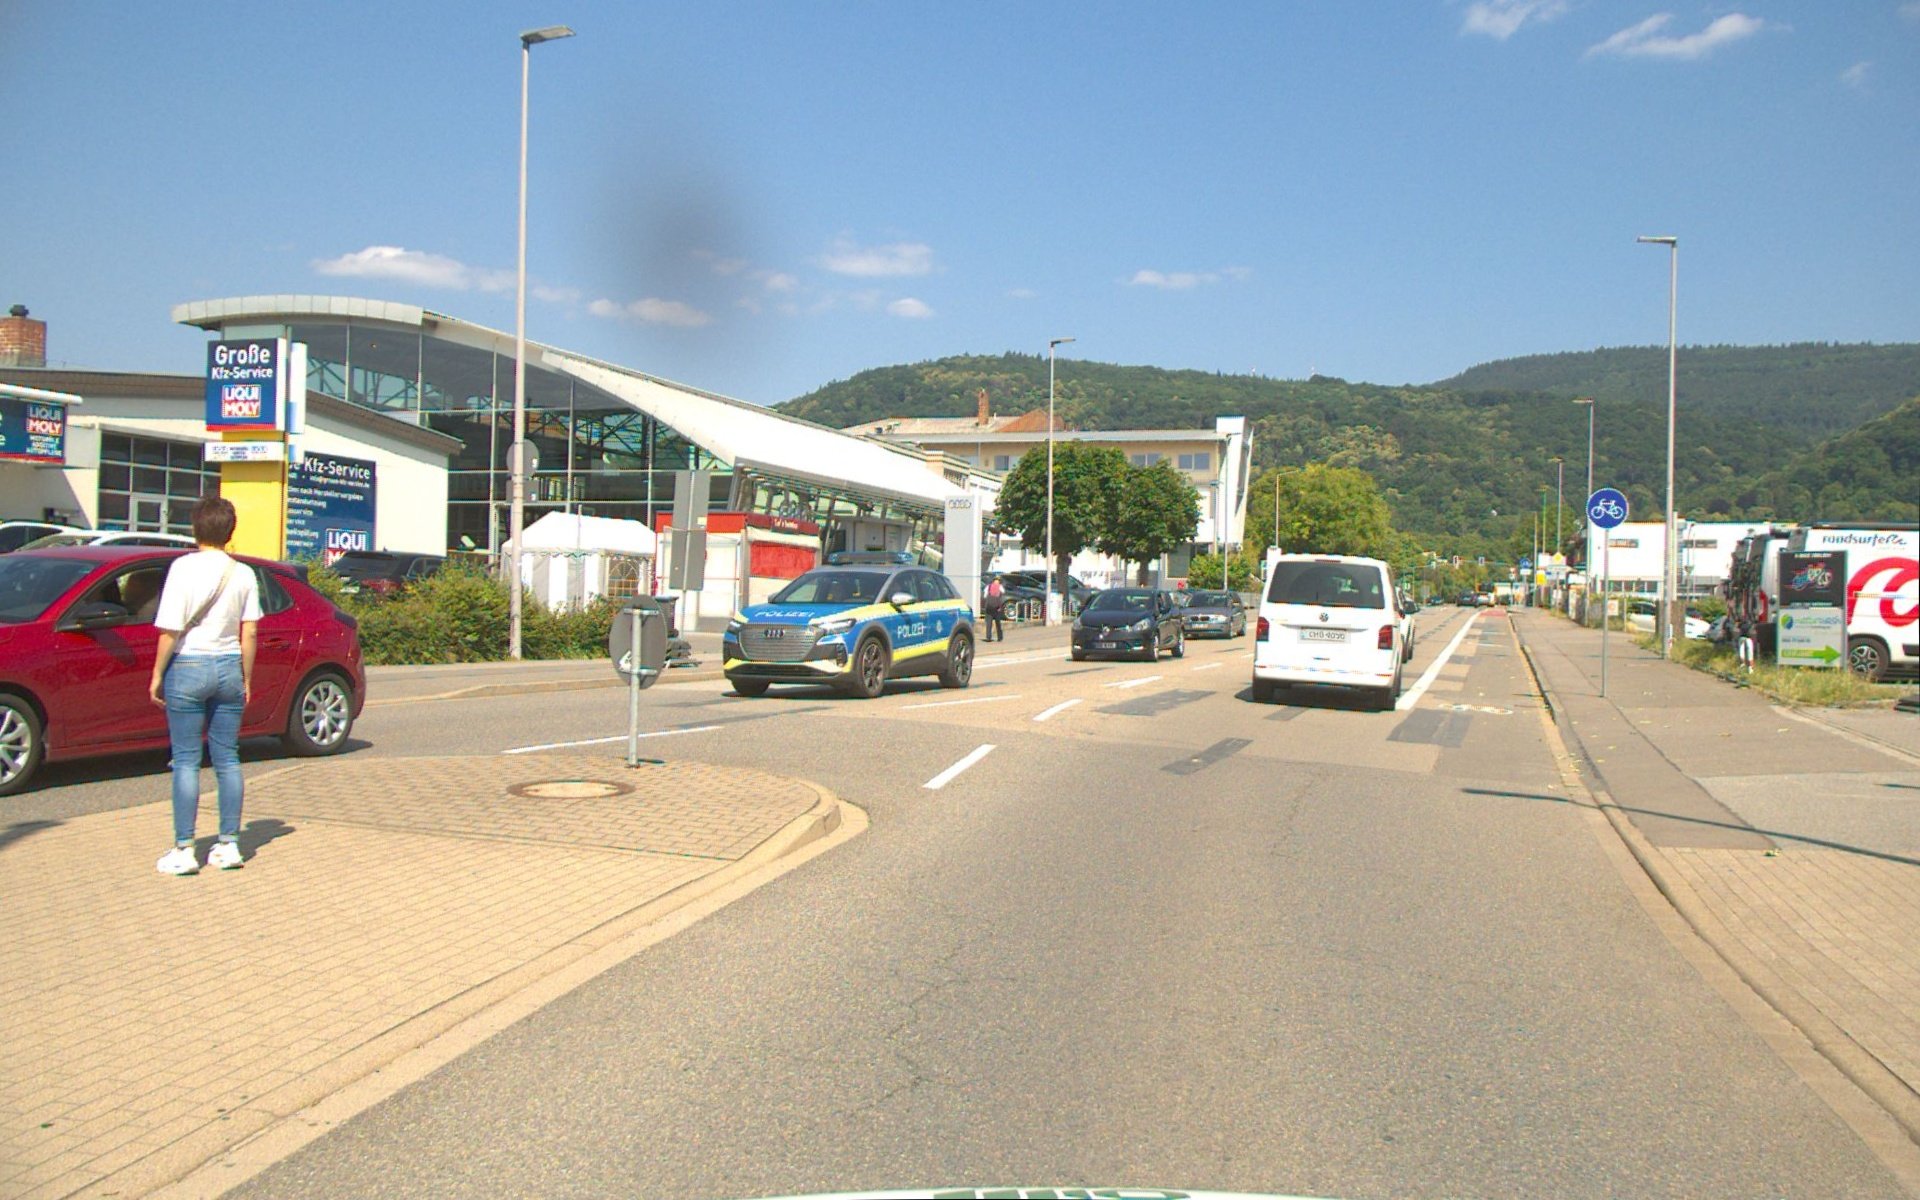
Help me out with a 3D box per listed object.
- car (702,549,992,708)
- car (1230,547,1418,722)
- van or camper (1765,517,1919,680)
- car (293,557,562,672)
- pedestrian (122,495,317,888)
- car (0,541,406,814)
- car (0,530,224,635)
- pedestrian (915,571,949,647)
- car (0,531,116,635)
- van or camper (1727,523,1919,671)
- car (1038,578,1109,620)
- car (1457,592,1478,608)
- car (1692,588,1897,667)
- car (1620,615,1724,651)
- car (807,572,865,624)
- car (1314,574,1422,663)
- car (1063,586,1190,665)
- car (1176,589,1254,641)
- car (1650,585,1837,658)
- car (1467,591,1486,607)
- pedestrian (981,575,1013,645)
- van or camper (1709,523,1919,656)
[{"bbox_3d":[-1.290,0.291,21.049,1.870,1.791,4.450,1,1,23],"label":"car"},{"bbox_3d":[5.286,0.384,23.478,2.117,2.048,5.021,5,2,17],"label":"car"},{"bbox_3d":[17.020,0.000,27.324,6.369,2.606,2.975,1,0,20],"label":"van or camper"},{"bbox_3d":[-8.245,0.179,25.982,1.952,1.646,4.000,1,1,21],"label":"car"},{"bbox_3d":[-3.360,0.395,7.545,0.749,1.685,0.668,1,0,-23],"label":"pedestrian"},{"bbox_3d":[-5.739,0.390,10.689,1.804,1.489,4.143,3,2,23],"label":"car"},{"bbox_3d":[-14.971,-0.246,27.962,1.841,1.616,4.931,-1,0,17],"label":"car"},{"bbox_3d":[-0.674,0.221,40.090,0.744,1.819,0.784,1,0,2],"label":"pedestrian"},{"bbox_3d":[-14.310,-0.247,23.159,1.983,1.452,4.319,1,0,17],"label":"car"},{"bbox_3d":[17.972,-0.041,30.629,6.469,2.606,3.753,1,0,20],"label":"van or camper"},{"bbox_3d":[4.498,-0.069,66.047,1.716,1.612,3.647,1,0,-15],"label":"car"},{"bbox_3d":[44.672,-0.025,145.550,1.682,1.326,4.002,1,1,17],"label":"car"},{"bbox_3d":[20.163,0.656,40.153,4.211,1.783,1.978,1,-1,20],"label":"car"},{"bbox_3d":[29.035,1.320,67.522,1.636,1.333,3.666,1,0,-31],"label":"car"},{"bbox_3d":[-3.981,-0.066,53.602,1.710,1.612,3.660,1,0,-2],"label":"car"},{"bbox_3d":[9.100,0.421,36.671,1.952,1.737,4.001,4,0,18],"label":"car"},{"bbox_3d":[3.466,0.468,33.746,1.802,1.489,4.002,1,1,17],"label":"car"},{"bbox_3d":[7.746,0.417,50.007,1.802,1.489,4.003,1,1,16],"label":"car"},{"bbox_3d":[20.378,0.556,43.197,4.211,1.783,1.978,1,-1,20],"label":"car"},{"bbox_3d":[56.082,-0.144,179.597,1.952,1.713,4.002,1,0,17],"label":"car"},{"bbox_3d":[0.988,0.263,43.780,0.743,1.819,0.928,1,0,7],"label":"pedestrian"},{"bbox_3d":[19.190,-0.215,34.166,6.469,2.606,3.401,1,0,20],"label":"van or camper"}]
